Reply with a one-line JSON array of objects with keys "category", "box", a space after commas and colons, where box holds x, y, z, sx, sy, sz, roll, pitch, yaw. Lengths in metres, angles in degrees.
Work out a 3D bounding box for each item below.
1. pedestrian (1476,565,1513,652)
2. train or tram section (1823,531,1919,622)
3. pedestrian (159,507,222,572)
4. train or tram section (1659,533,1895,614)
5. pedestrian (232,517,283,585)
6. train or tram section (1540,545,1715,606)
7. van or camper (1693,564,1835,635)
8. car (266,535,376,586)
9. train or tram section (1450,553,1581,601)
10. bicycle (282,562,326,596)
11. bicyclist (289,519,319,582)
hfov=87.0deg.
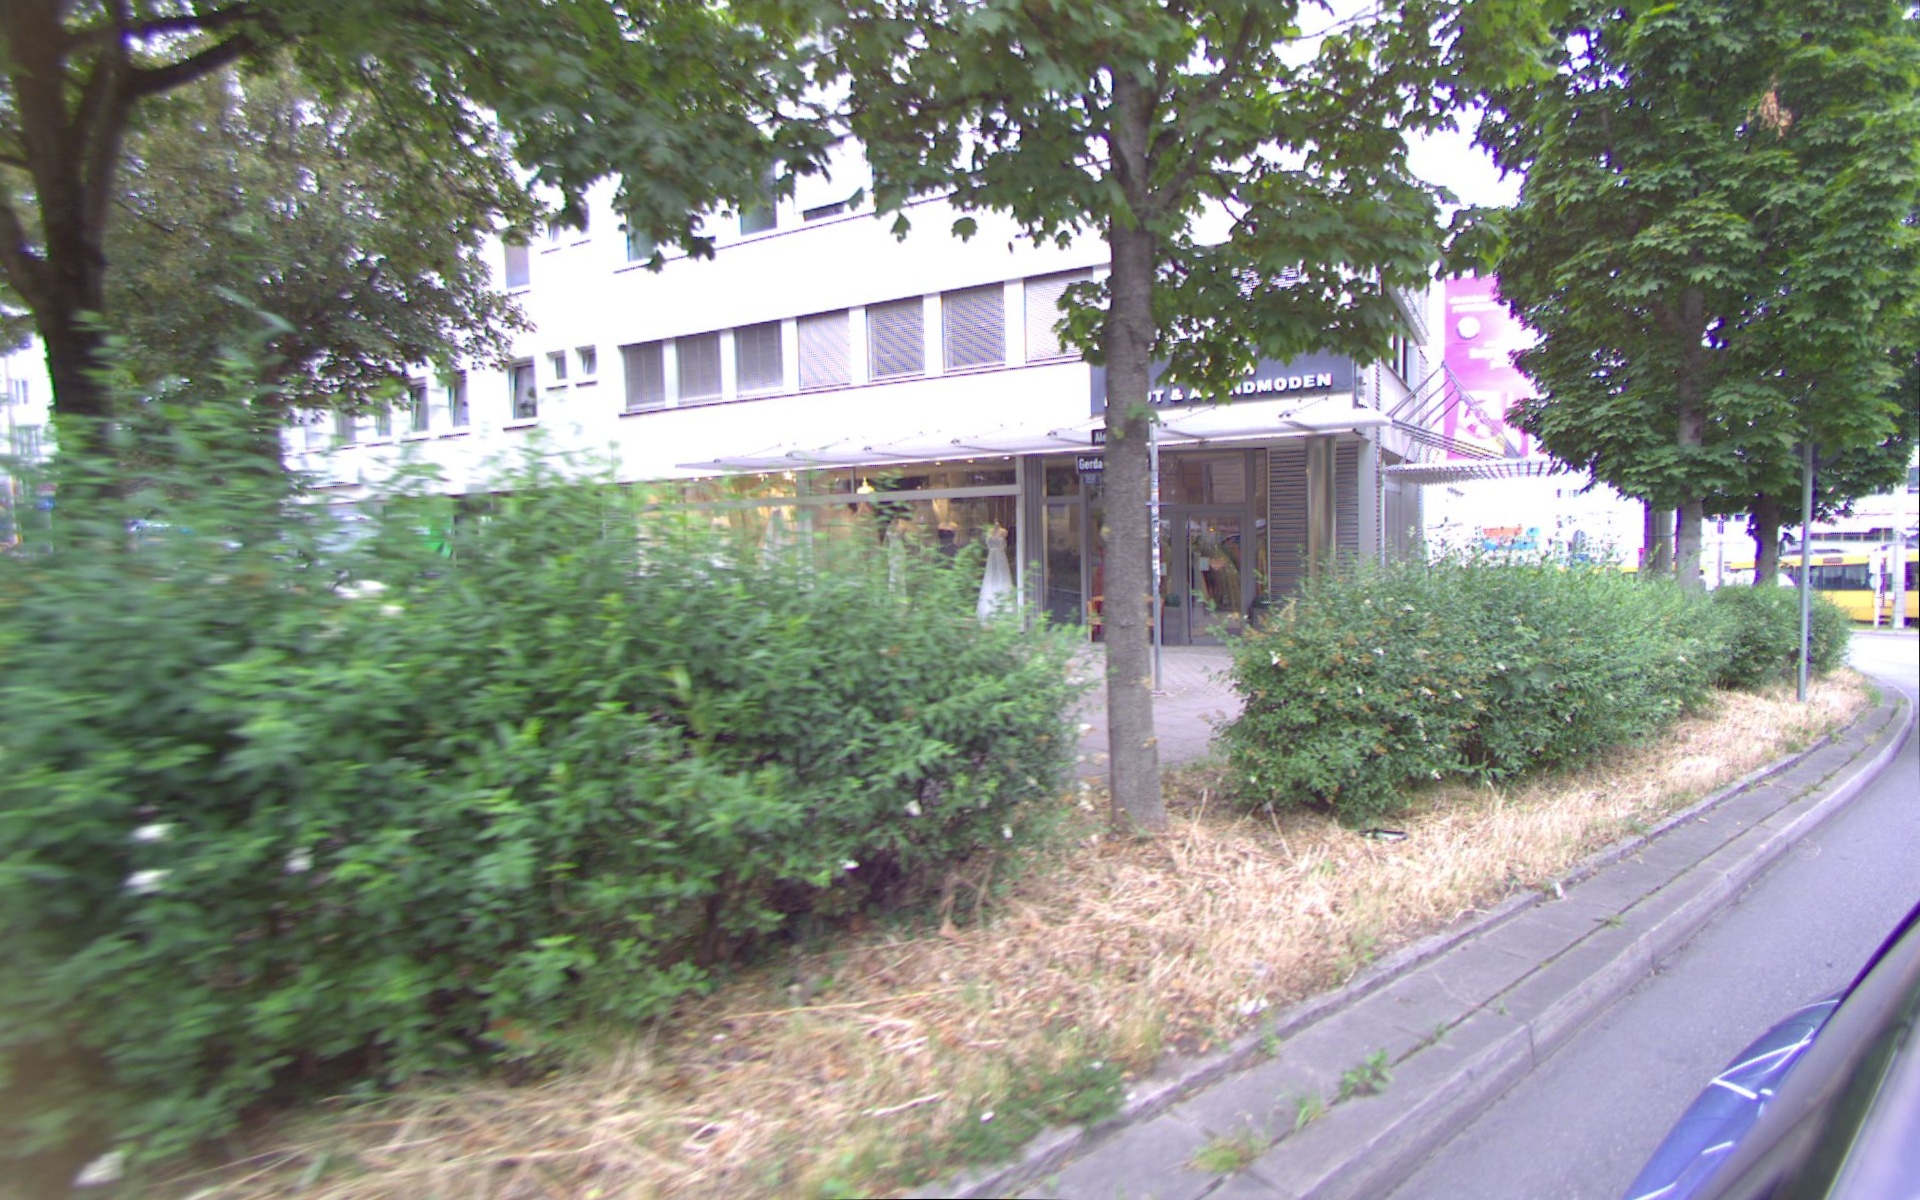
[{"category": "pedestrian", "box": [11.387, 0.186, 21.570, 0.669, 1.817, 0.602, -1, -1, 29]}, {"category": "train or tram section", "box": [40.546, -0.994, 40.745, 2.849, 3.709, 14.166, -1, 1, 15]}, {"category": "pedestrian", "box": [-22.777, -1.759, 29.967, 1.014, 1.845, 1.150, -1, 0, 25]}, {"category": "train or tram section", "box": [43.281, -1.374, 54.661, 2.842, 3.709, 14.201, -2, 1, 8]}, {"category": "pedestrian", "box": [-18.053, -1.248, 26.004, 0.876, 1.722, 0.865, 1, 1, 38]}, {"category": "train or tram section", "box": [44.697, -1.675, 68.706, 2.879, 3.602, 14.223, -3, 1, 3]}, {"category": "van or camper", "box": [32.522, -0.082, 41.236, 2.179, 2.590, 6.341, -3, 1, 17]}, {"category": "car", "box": [-22.133, -1.381, 35.062, 3.348, 1.669, 1.588, 2, 1, 22]}, {"category": "train or tram section", "box": [45.058, -1.791, 82.931, 2.837, 3.484, 14.228, -3, 1, 0]}, {"category": "bicycle", "box": [-17.337, -0.563, 26.738, 1.534, 0.869, 0.513, 1, 1, 38]}, {"category": "bicyclist", "box": [-17.310, -1.302, 26.721, 0.593, 1.622, 0.506, 1, 1, 38]}]
